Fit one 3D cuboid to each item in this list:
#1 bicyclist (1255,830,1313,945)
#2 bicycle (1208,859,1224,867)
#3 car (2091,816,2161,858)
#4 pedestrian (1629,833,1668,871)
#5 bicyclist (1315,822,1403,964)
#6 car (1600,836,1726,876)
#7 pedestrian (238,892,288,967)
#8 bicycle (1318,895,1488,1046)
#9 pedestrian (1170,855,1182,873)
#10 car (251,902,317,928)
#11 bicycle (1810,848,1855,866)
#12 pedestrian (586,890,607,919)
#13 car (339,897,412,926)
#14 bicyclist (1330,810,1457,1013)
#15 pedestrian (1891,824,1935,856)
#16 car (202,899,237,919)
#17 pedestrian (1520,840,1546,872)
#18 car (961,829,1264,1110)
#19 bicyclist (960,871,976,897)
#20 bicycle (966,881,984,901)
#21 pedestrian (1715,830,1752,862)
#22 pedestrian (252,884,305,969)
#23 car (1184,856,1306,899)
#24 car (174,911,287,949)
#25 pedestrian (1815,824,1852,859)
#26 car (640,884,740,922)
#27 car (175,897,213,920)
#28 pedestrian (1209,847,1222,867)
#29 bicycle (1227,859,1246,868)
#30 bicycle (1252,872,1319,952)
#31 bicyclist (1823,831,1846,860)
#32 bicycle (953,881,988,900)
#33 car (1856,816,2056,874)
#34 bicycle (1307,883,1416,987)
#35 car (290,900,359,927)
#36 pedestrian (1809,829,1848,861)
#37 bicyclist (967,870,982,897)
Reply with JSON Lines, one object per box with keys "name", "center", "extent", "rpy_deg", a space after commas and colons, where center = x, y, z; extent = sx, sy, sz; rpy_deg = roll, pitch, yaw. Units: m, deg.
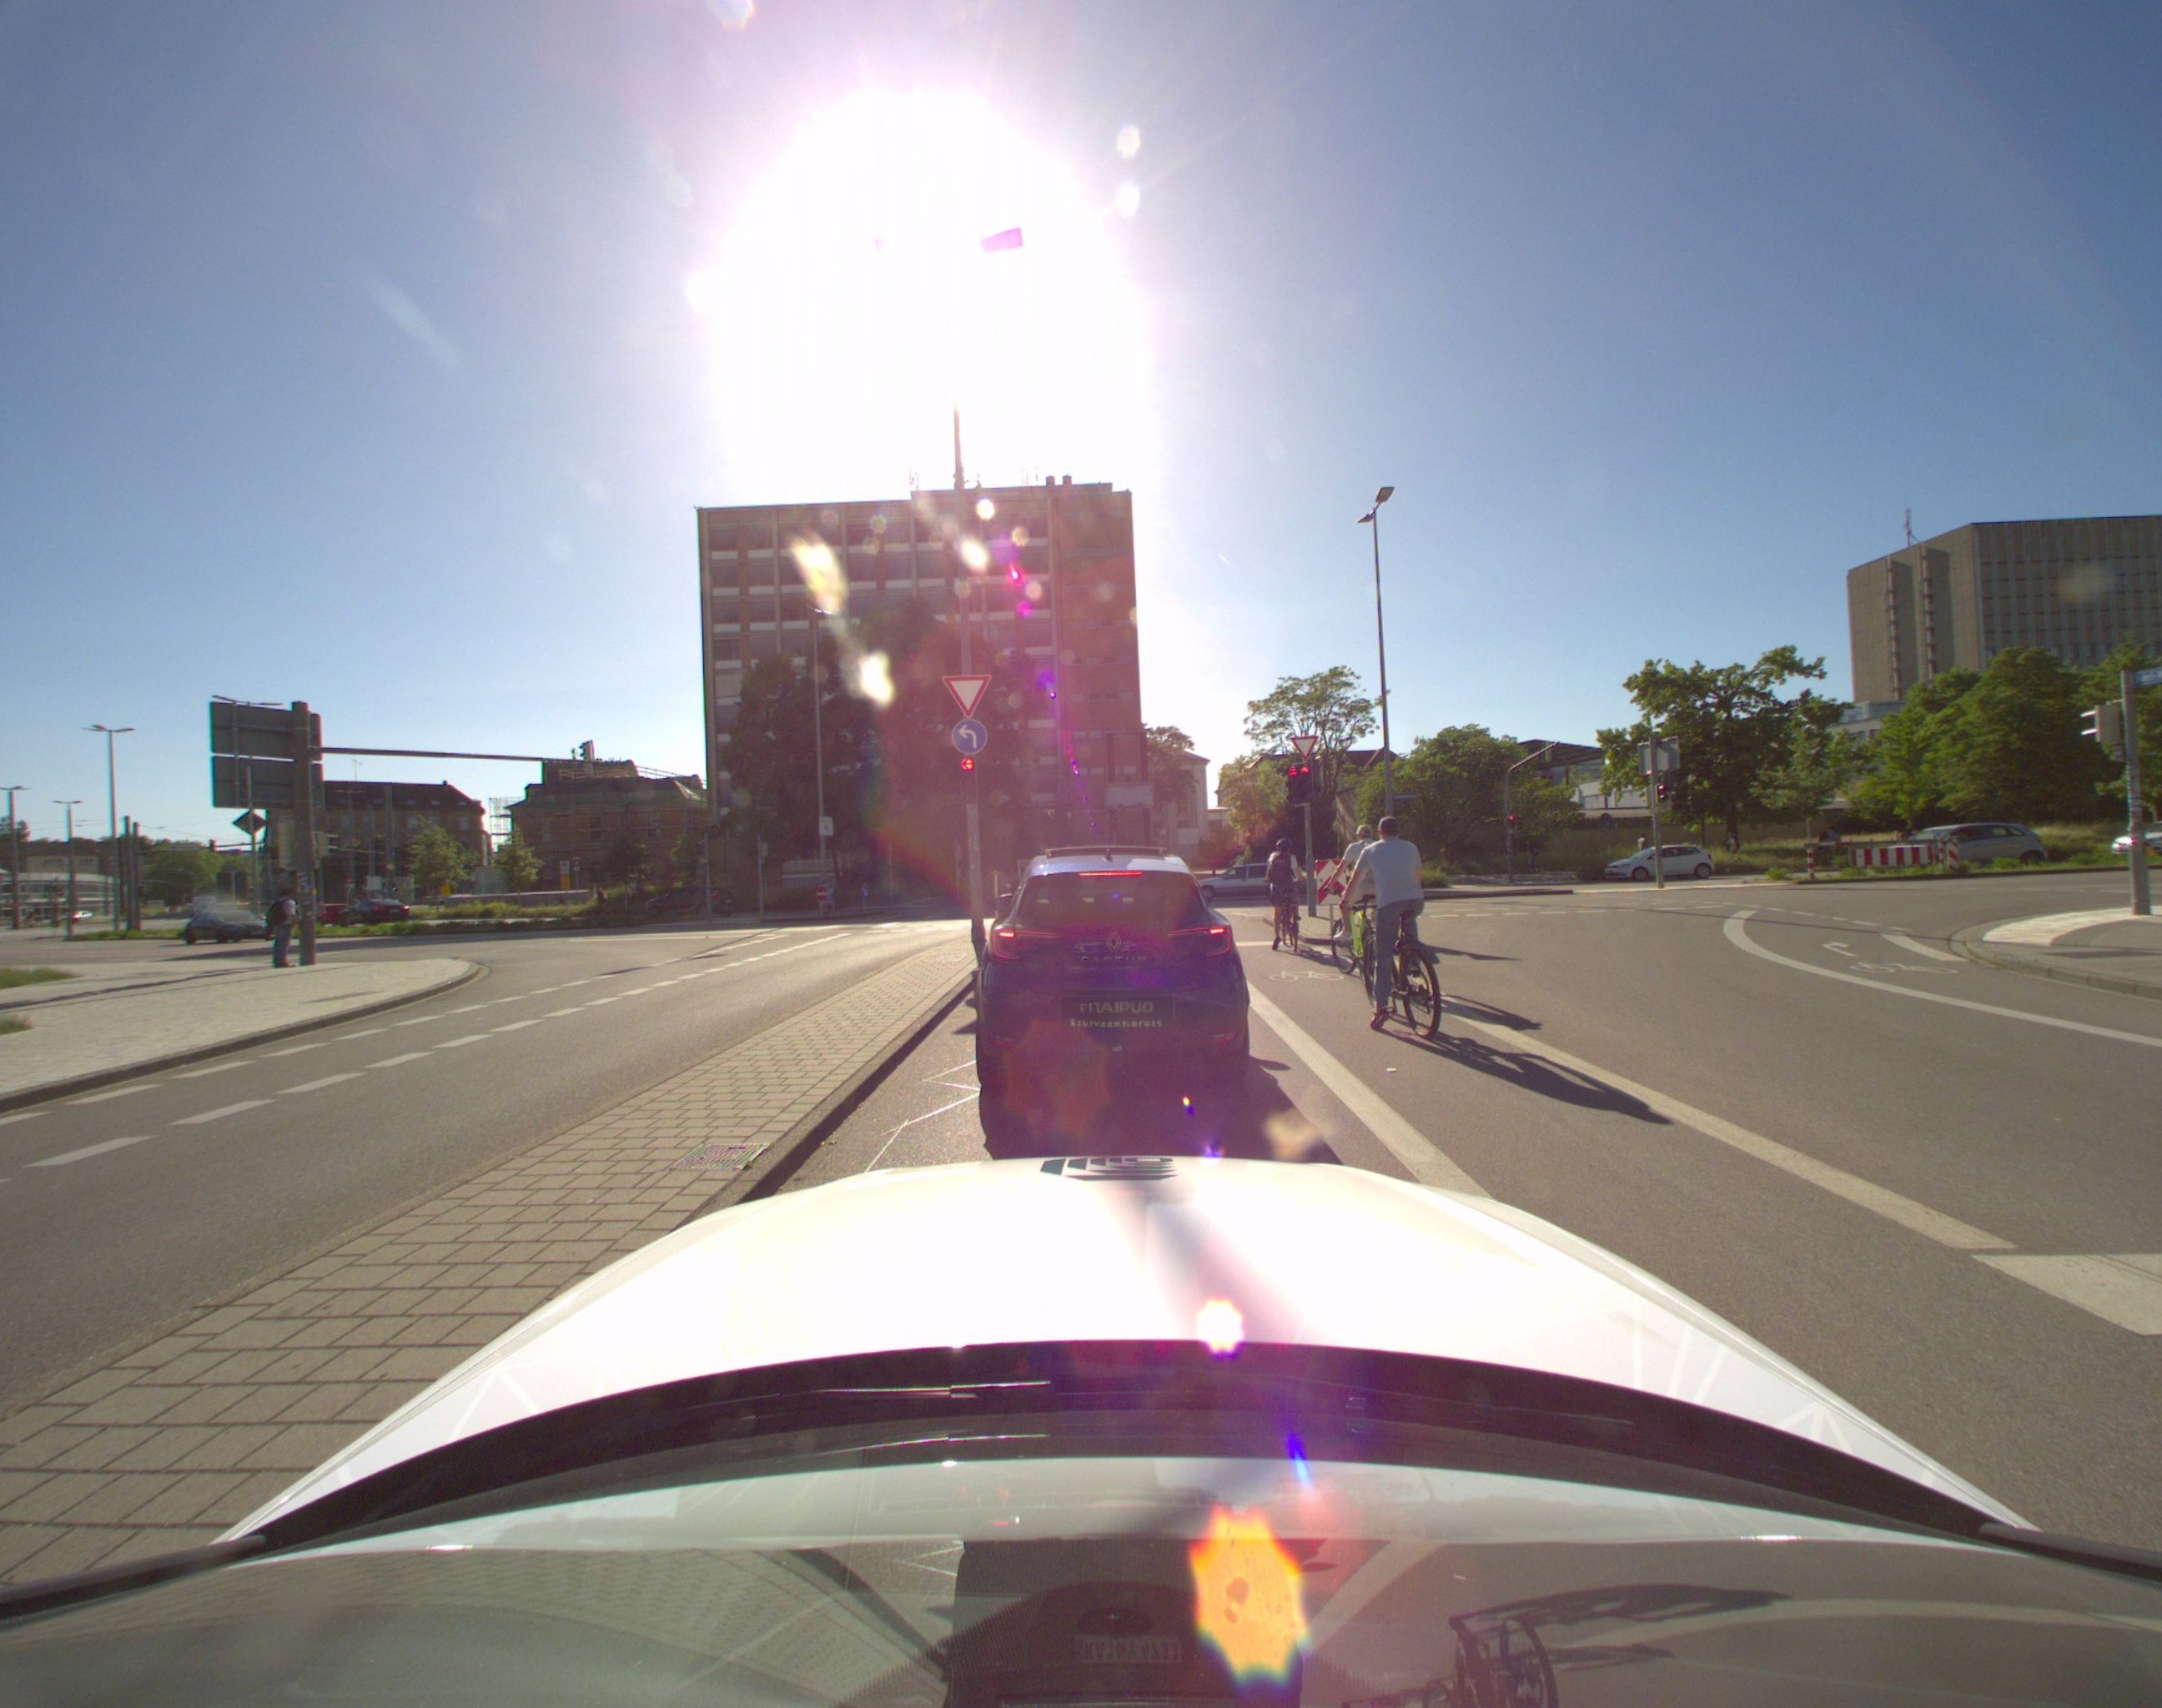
{"name": "bicyclist", "center": [3.243, 0.523, 13.065], "extent": [0.674, 1.785, 0.939], "rpy_deg": [-1, -1, 0]}
{"name": "bicycle", "center": [15.697, 1.062, 94.646], "extent": [1.764, 0.898, 0.766], "rpy_deg": [-2, -1, 2]}
{"name": "car", "center": [44.538, -0.756, 32.946], "extent": [4.480, 1.606, 2.003], "rpy_deg": [-2, 0, 6]}
{"name": "pedestrian", "center": [28.632, -0.093, 41.114], "extent": [1.288, 1.855, 0.969], "rpy_deg": [-3, -1, 13]}
{"name": "bicyclist", "center": [3.246, 0.434, 9.589], "extent": [0.672, 1.583, 1.081], "rpy_deg": [0, 0, 1]}
{"name": "car", "center": [24.620, 0.103, 34.573], "extent": [3.933, 1.491, 1.814], "rpy_deg": [-2, -2, 7]}
{"name": "pedestrian", "center": [-19.249, 1.758, 19.165], "extent": [0.627, 1.697, 0.608], "rpy_deg": [-3, -1, 25]}
{"name": "bicycle", "center": [2.777, 0.952, 7.284], "extent": [0.745, 1.050, 1.903], "rpy_deg": [-3, 0, 1]}
{"name": "pedestrian", "center": [10.862, 1.114, 93.070], "extent": [1.144, 2.013, 0.954], "rpy_deg": [-3, -1, 8]}
{"name": "car", "center": [-53.583, 4.090, 54.756], "extent": [3.771, 1.518, 2.012], "rpy_deg": [-3, -1, 27]}
{"name": "bicycle", "center": [35.689, 0.145, 38.687], "extent": [1.483, 0.777, 0.571], "rpy_deg": [-3, -1, 12]}
{"name": "pedestrian", "center": [-35.400, 3.705, 59.507], "extent": [0.815, 2.013, 1.021], "rpy_deg": [-3, -1, 28]}
{"name": "car", "center": [-42.390, 3.455, 48.907], "extent": [3.771, 1.518, 2.012], "rpy_deg": [-3, -1, 27]}
{"name": "bicyclist", "center": [2.752, 0.483, 7.268], "extent": [0.737, 1.674, 0.865], "rpy_deg": [-2, -1, 0]}
{"name": "pedestrian", "center": [41.263, -0.679, 40.420], "extent": [1.140, 1.521, 0.944], "rpy_deg": [-2, -1, 7]}
{"name": "car", "center": [-93.510, 5.962, 88.385], "extent": [4.950, 2.013, 2.085], "rpy_deg": [-3, -1, 38]}
{"name": "pedestrian", "center": [23.581, 0.102, 42.491], "extent": [0.974, 1.604, 0.830], "rpy_deg": [-3, -1, 15]}
{"name": "car", "center": [0.221, 0.686, 6.782], "extent": [1.788, 1.655, 3.853], "rpy_deg": [-1, 0, 1]}
{"name": "bicyclist", "center": [-6.421, 1.712, 46.343], "extent": [0.631, 1.412, 0.652], "rpy_deg": [-3, -1, 21]}
{"name": "bicycle", "center": [-5.769, 2.038, 44.216], "extent": [0.699, 1.007, 1.859], "rpy_deg": [-3, -3, -13]}
{"name": "pedestrian", "center": [32.623, -0.401, 40.726], "extent": [1.078, 1.521, 0.933], "rpy_deg": [-2, -1, 11]}
{"name": "pedestrian", "center": [-18.171, 1.627, 18.447], "extent": [0.673, 1.855, 0.608], "rpy_deg": [-3, -1, 25]}
{"name": "car", "center": [6.836, 0.976, 34.239], "extent": [4.835, 1.593, 1.943], "rpy_deg": [-3, -1, 8]}
{"name": "car", "center": [-38.308, 3.416, 36.697], "extent": [3.954, 1.389, 2.010], "rpy_deg": [-4, -1, 19]}
{"name": "pedestrian", "center": [37.738, -0.617, 40.857], "extent": [0.958, 1.732, 0.928], "rpy_deg": [-2, -1, 8]}
{"name": "car", "center": [-18.533, 2.306, 38.693], "extent": [3.958, 1.570, 1.843], "rpy_deg": [-3, -1, 14]}
{"name": "car", "center": [-107.899, 6.623, 99.127], "extent": [6.869, 2.547, 3.031], "rpy_deg": [-3, -1, 43]}
{"name": "pedestrian", "center": [13.676, 0.294, 82.888], "extent": [1.152, 2.013, 1.165], "rpy_deg": [-2, -1, 2]}
{"name": "bicycle", "center": [15.806, 0.952, 82.835], "extent": [1.770, 0.823, 0.763], "rpy_deg": [-2, -1, -9]}
{"name": "bicycle", "center": [3.240, 0.881, 13.057], "extent": [0.613, 1.138, 1.826], "rpy_deg": [-2, 0, 0]}
{"name": "bicyclist", "center": [35.765, -0.413, 38.661], "extent": [0.517, 1.368, 0.578], "rpy_deg": [-2, -1, 12]}
{"name": "bicycle", "center": [-6.287, 2.071, 46.301], "extent": [1.849, 0.958, 0.627], "rpy_deg": [-3, -1, 20]}
{"name": "car", "center": [28.056, -0.271, 26.237], "extent": [4.103, 1.606, 1.915], "rpy_deg": [-2, 0, 7]}
{"name": "bicycle", "center": [3.268, 0.902, 9.659], "extent": [0.669, 1.050, 1.844], "rpy_deg": [0, 0, 1]}
{"name": "car", "center": [-47.964, 3.782, 51.641], "extent": [3.771, 1.518, 2.012], "rpy_deg": [-3, -1, 27]}
{"name": "pedestrian", "center": [36.755, -0.448, 40.062], "extent": [1.067, 1.521, 0.882], "rpy_deg": [-2, -1, 13]}
{"name": "bicyclist", "center": [-5.784, 1.596, 44.173], "extent": [0.648, 1.412, 0.635], "rpy_deg": [-2, -3, -14]}
